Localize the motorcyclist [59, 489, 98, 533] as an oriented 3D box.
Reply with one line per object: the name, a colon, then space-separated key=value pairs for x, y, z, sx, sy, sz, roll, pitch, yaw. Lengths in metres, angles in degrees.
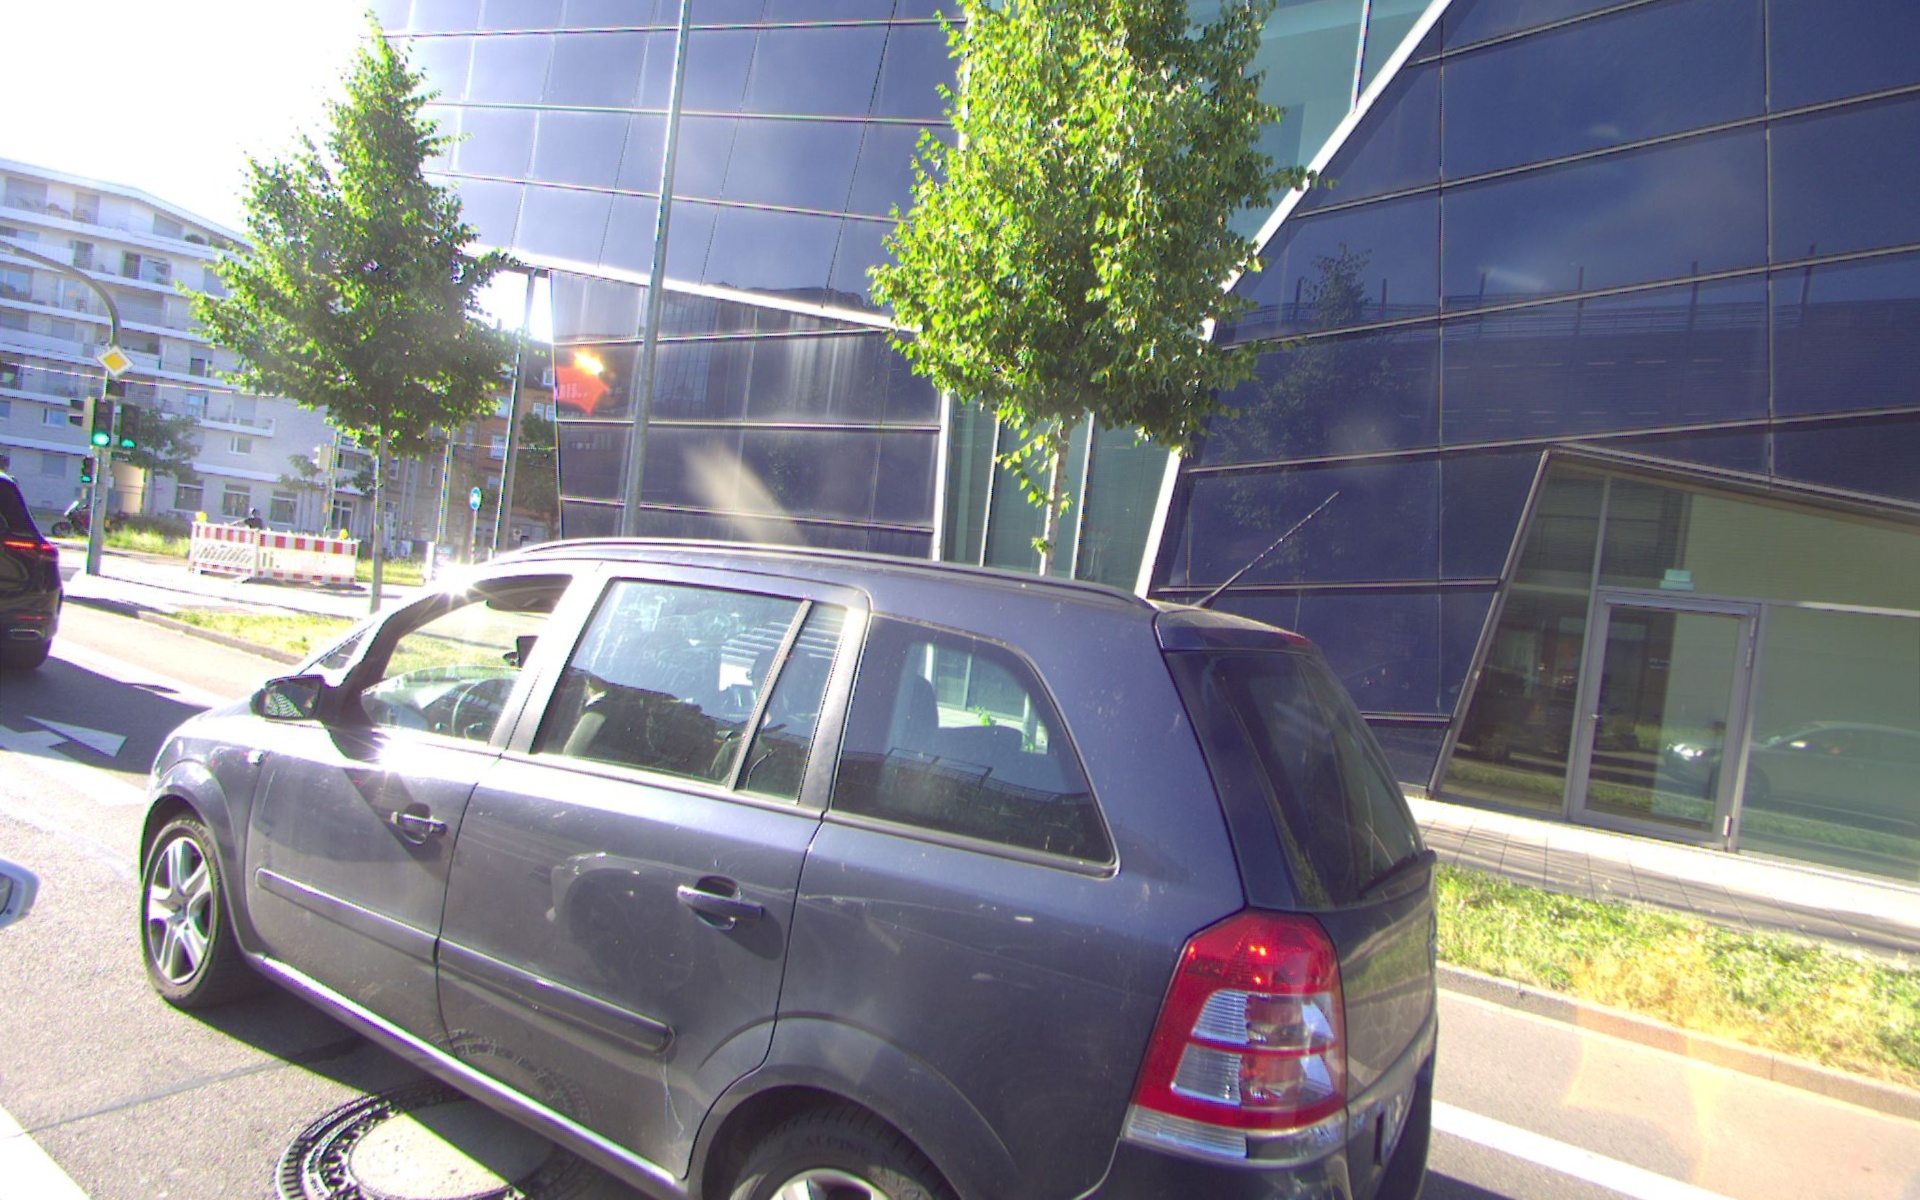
motorcyclist: x=-33.084 y=-3.330 z=37.749 sx=0.922 sy=1.500 sz=1.157 roll=6 pitch=1 yaw=-44

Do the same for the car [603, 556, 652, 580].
car: x=-27.525 y=-2.656 z=83.223 sx=3.944 sy=1.505 sz=1.990 roll=6 pitch=0 yaw=41

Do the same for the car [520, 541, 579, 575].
car: x=-36.108 y=-3.697 z=88.632 sx=4.540 sy=2.339 sz=1.990 roll=7 pitch=0 yaw=-22

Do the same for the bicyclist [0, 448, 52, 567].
bicyclist: x=-14.211 y=-1.396 z=15.012 sx=0.956 sy=1.663 sz=0.654 roll=8 pitch=1 yaw=35

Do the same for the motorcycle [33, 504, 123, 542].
motorcycle: x=-33.114 y=-2.882 z=37.799 sx=2.446 sy=1.013 sz=1.157 roll=7 pitch=0 yaw=-45

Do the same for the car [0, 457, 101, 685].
car: x=-9.463 y=-0.502 z=8.491 sx=4.299 sy=1.735 sz=2.007 roll=7 pitch=-1 yaw=32

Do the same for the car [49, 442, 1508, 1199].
car: x=-0.814 y=0.607 z=3.118 sx=4.190 sy=1.715 sz=1.749 roll=7 pitch=-2 yaw=32

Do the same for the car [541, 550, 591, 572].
car: x=-31.565 y=-3.107 z=80.550 sx=3.944 sy=1.371 sz=1.990 roll=6 pitch=0 yaw=41

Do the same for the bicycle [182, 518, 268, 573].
bicycle: x=-20.790 y=-1.531 z=28.449 sx=2.042 sy=1.278 sz=0.768 roll=7 pitch=1 yaw=15

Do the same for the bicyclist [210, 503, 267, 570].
bicyclist: x=-20.297 y=-1.765 z=28.305 sx=0.912 sy=1.727 sz=0.768 roll=7 pitch=1 yaw=15
